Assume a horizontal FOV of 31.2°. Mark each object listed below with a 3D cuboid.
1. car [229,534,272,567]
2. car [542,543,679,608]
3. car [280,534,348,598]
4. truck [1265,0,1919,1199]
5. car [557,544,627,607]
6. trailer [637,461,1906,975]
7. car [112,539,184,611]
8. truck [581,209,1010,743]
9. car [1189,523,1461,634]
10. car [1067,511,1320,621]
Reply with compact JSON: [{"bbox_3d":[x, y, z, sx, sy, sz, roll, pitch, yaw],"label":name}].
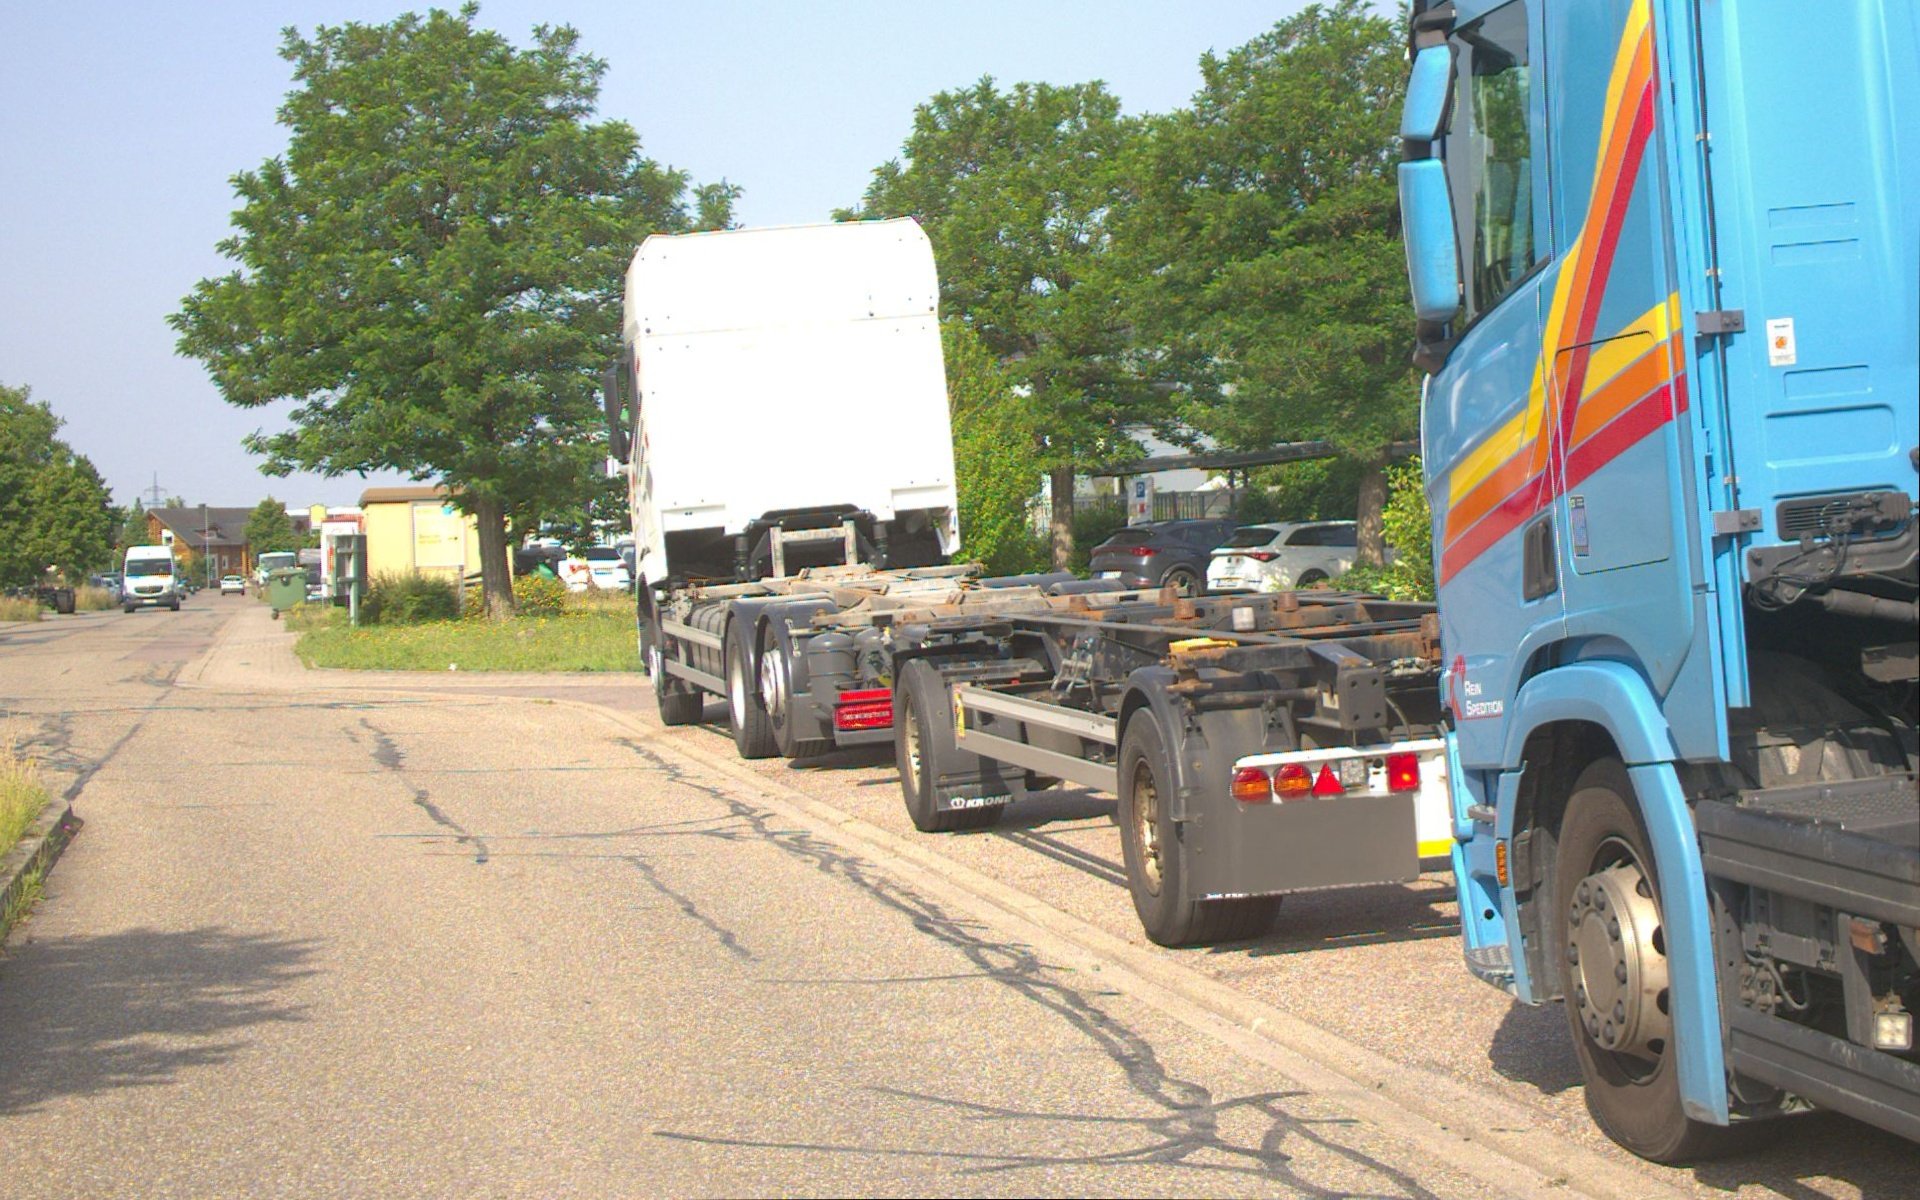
[{"bbox_3d":[-40.524,-2.824,196.371,1.770,1.809,4.001,0,-1,-21],"label":"car"},{"bbox_3d":[-7.477,-0.508,73.283,1.668,1.325,3.664,0,-1,-28],"label":"car"},{"bbox_3d":[-18.480,-0.962,98.240,1.791,1.744,4.001,0,-1,-12],"label":"car"},{"bbox_3d":[3.284,-0.456,5.122,2.887,3.523,9.757,-5,1,-11],"label":"truck"},{"bbox_3d":[-9.783,-0.628,91.167,1.717,1.612,4.001,0,-1,-8],"label":"car"},{"bbox_3d":[0.375,0.317,19.735,2.745,1.568,16.176,-4,1,-11],"label":"trailer"},{"bbox_3d":[-31.568,-0.948,133.547,2.214,2.677,6.855,0,-1,-17],"label":"car"},{"bbox_3d":[-1.474,-0.994,28.600,2.745,3.968,4.001,-4,1,-11],"label":"truck"},{"bbox_3d":[5.817,-0.312,54.684,4.074,1.695,1.765,1,-1,-32],"label":"car"},{"bbox_3d":[3.913,-0.535,57.378,3.989,1.761,1.999,1,-1,-42],"label":"car"}]
